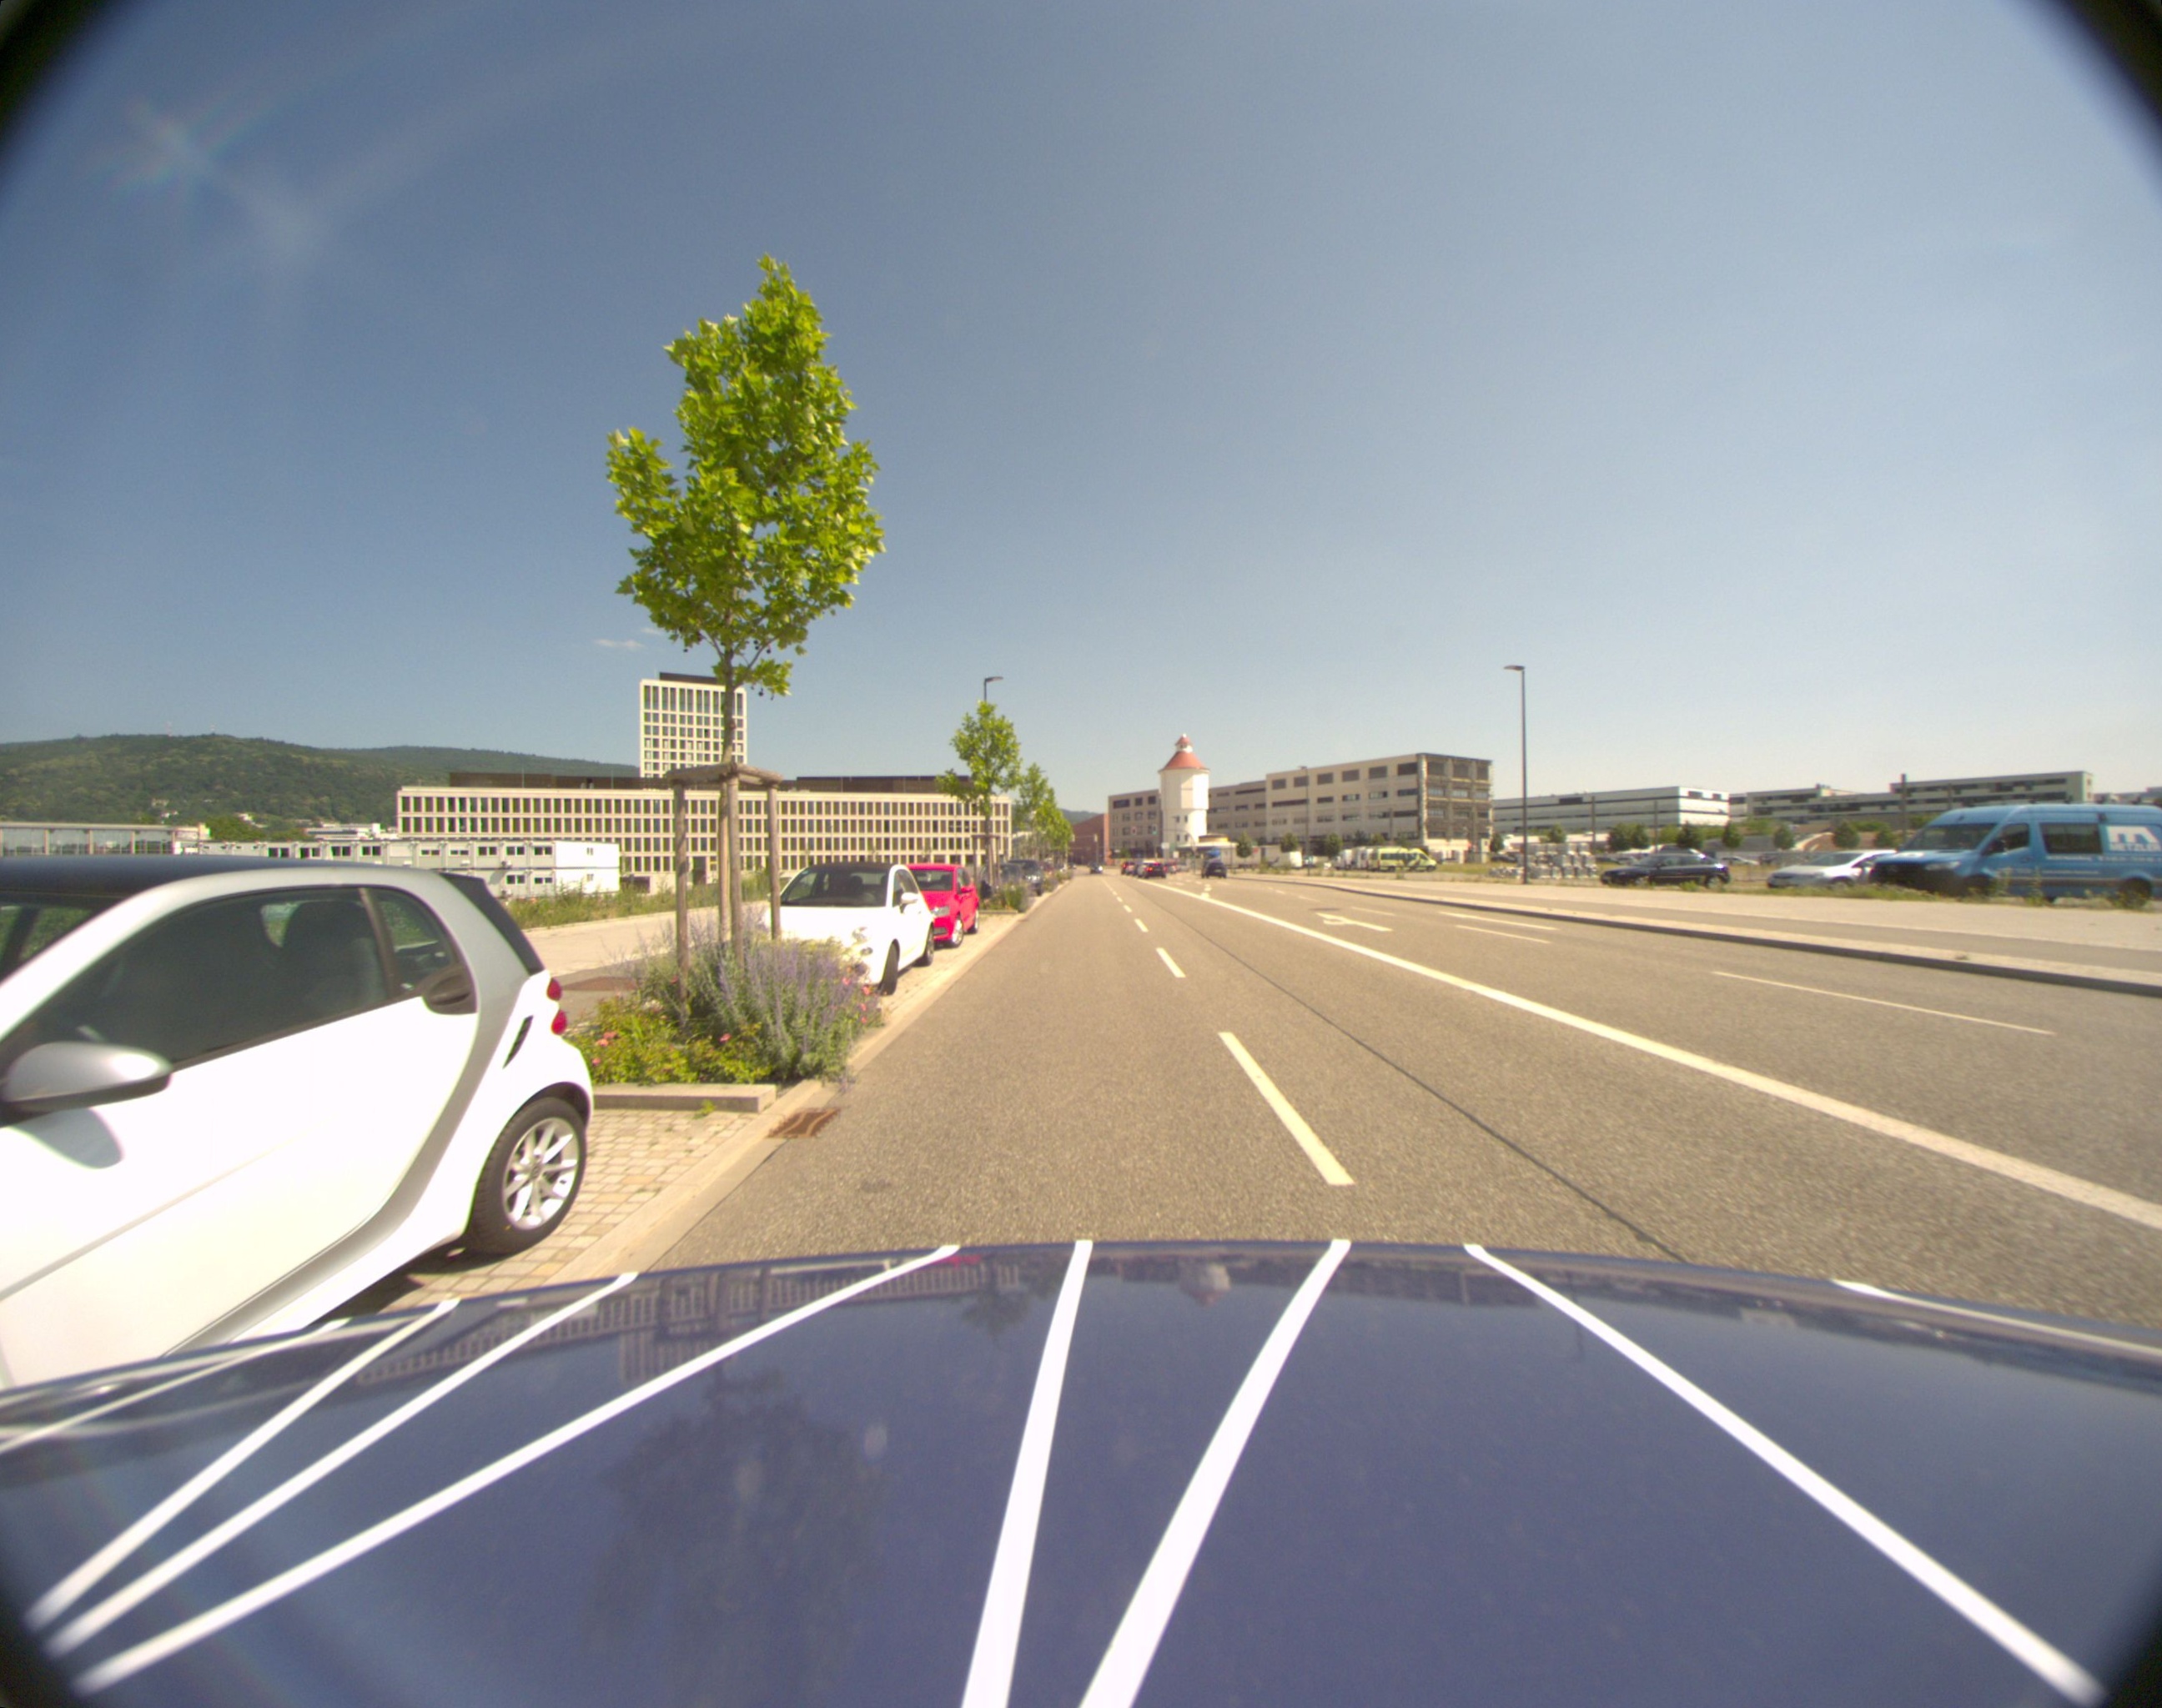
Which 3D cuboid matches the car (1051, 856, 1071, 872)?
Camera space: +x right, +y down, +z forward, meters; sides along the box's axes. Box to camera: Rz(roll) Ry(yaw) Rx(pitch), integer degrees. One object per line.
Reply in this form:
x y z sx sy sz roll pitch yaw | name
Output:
-2.015 0.995 77.500 1.877 1.617 4.876 0 0 0 | car

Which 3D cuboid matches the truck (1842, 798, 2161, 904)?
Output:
23.631 -0.072 19.460 6.019 2.528 2.275 0 0 0 | truck

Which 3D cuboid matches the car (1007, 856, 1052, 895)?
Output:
-2.265 0.932 34.139 1.739 1.599 4.241 1 0 0 | car

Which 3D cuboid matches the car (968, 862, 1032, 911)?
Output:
-2.678 1.043 25.944 1.637 1.420 4.241 -4 -1 0 | car

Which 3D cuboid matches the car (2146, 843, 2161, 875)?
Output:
66.363 0.283 44.816 2.003 1.870 3.990 0 0 -31 | car

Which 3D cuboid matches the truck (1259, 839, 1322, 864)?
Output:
39.831 -0.429 144.588 10.951 4.251 3.341 -2 1 -11 | truck

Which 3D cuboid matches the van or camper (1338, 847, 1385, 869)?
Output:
35.319 0.499 95.774 4.912 2.646 2.260 -2 0 1 | van or camper

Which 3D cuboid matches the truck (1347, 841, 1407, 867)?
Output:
35.596 -0.025 91.514 6.160 2.884 2.570 -3 1 2 | truck

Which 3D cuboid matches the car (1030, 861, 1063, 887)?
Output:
-2.275 1.326 51.206 1.913 1.607 4.549 -1 -1 2 | car

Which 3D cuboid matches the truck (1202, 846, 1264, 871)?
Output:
28.491 0.775 141.990 10.987 4.044 3.297 -2 1 -17 | truck

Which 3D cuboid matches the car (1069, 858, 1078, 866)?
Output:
-1.551 1.641 160.808 1.783 1.552 3.832 0 0 2 | car

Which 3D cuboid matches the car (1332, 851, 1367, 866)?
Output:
35.041 0.584 99.192 3.876 1.748 1.657 -2 0 -3 | car

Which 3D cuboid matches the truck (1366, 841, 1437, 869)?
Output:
35.265 0.156 83.643 6.654 2.809 2.602 -2 0 -2 | truck

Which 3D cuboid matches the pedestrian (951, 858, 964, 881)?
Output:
-9.147 1.142 56.191 0.733 1.695 0.651 -2 1 1 | pedestrian

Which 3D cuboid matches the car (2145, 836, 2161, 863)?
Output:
80.830 -0.337 55.228 2.004 2.001 3.990 0 -1 -33 | car

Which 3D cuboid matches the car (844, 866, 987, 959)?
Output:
-2.926 0.993 14.270 1.722 1.442 4.001 -2 -1 1 | car

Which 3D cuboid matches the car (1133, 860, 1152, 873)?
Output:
6.774 1.349 84.281 1.790 1.413 4.282 0 0 1 | car

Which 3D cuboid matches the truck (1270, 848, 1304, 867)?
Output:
30.347 0.482 111.888 2.174 2.639 5.938 -1 0 -14 | truck

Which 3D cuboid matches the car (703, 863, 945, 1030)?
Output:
-2.901 0.948 9.428 1.722 1.516 3.641 1 2 1 | car

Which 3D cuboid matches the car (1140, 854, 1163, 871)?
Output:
6.899 0.821 74.468 1.918 1.640 4.731 0 0 1 | car

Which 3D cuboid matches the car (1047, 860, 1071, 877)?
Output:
-1.949 1.275 69.223 1.913 1.470 4.158 0 0 2 | car

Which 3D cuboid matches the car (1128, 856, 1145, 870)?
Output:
6.709 1.103 92.277 1.783 1.672 4.099 1 -1 0 | car

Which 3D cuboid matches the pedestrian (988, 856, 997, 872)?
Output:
-8.725 1.002 74.860 0.752 1.599 0.949 2 0 1 | pedestrian

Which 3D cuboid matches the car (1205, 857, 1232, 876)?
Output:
12.379 1.139 68.696 1.907 1.618 4.388 0 0 4 | car

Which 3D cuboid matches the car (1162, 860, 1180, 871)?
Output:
12.234 1.574 103.490 1.907 1.487 4.387 0 0 0 | car

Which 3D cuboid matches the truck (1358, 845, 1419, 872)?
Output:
34.914 0.465 86.438 5.850 2.808 2.570 -3 1 0 | truck

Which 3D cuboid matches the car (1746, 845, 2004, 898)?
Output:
23.752 0.496 22.886 5.666 1.465 2.107 0 0 -2 | car

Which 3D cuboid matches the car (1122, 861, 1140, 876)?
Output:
6.489 1.890 99.371 1.945 1.778 4.654 0 0 -2 | car

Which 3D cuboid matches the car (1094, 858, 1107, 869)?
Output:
2.790 1.371 111.300 1.783 1.552 3.832 0 0 0 | car

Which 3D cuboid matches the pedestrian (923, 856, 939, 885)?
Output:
-9.016 0.999 45.619 0.782 1.695 0.742 0 0 1 | pedestrian

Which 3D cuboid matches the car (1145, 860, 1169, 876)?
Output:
6.733 1.220 67.529 1.791 1.390 4.572 0 0 2 | car

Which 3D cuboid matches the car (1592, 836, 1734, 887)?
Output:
22.418 0.306 29.401 3.994 1.892 1.829 0 0 8 | car

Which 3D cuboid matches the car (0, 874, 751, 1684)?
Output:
-3.087 0.909 2.546 1.913 1.568 4.159 -1 0 4 | car

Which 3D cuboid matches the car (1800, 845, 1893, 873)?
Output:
57.633 0.400 57.282 2.003 2.002 4.643 0 0 -32 | car
